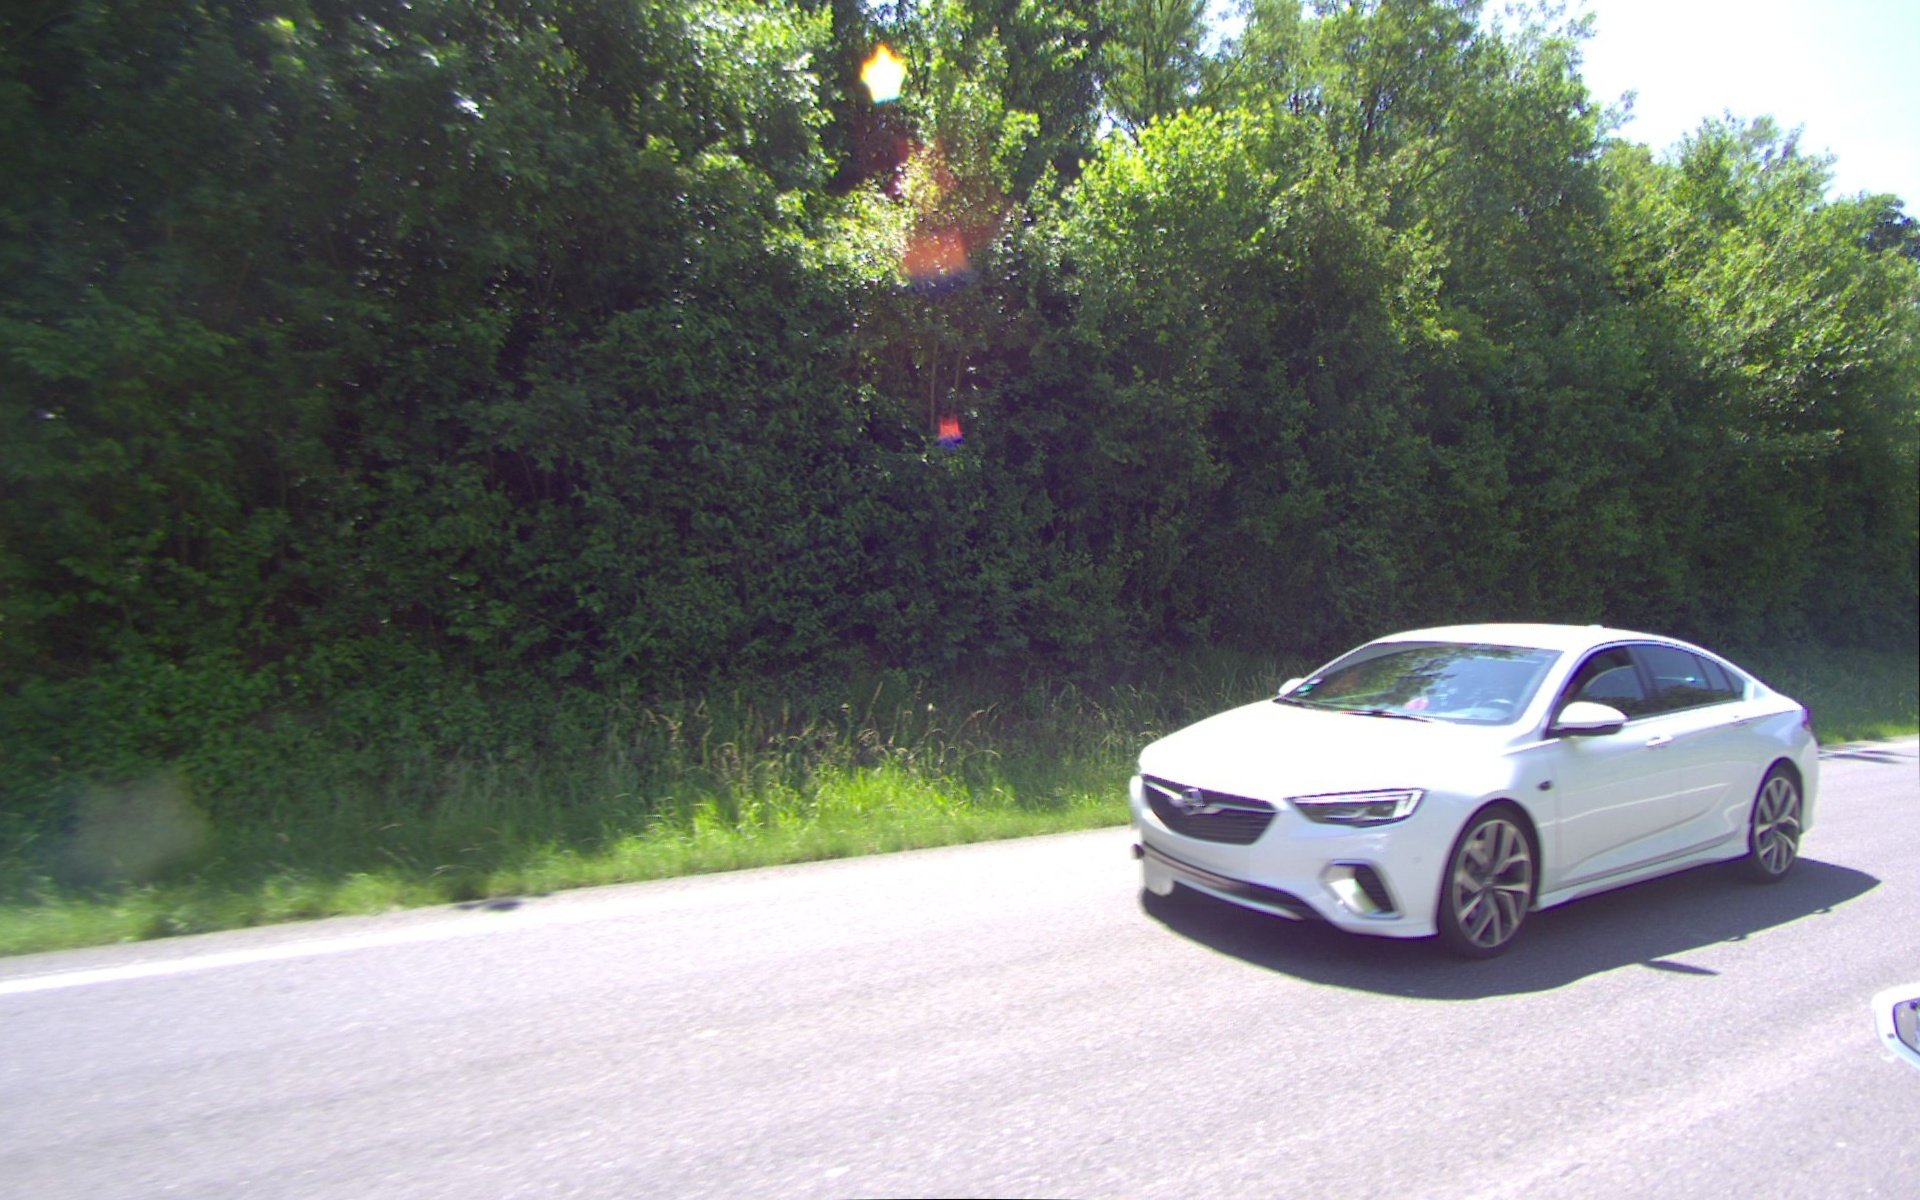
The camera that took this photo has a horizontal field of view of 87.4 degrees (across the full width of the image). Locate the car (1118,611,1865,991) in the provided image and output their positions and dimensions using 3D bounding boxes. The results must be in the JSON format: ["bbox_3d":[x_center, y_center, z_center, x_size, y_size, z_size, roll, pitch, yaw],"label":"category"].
[{"bbox_3d":[3.298,0.860,5.901,4.704,1.480,1.669,2,0,-31],"label":"car"}]
